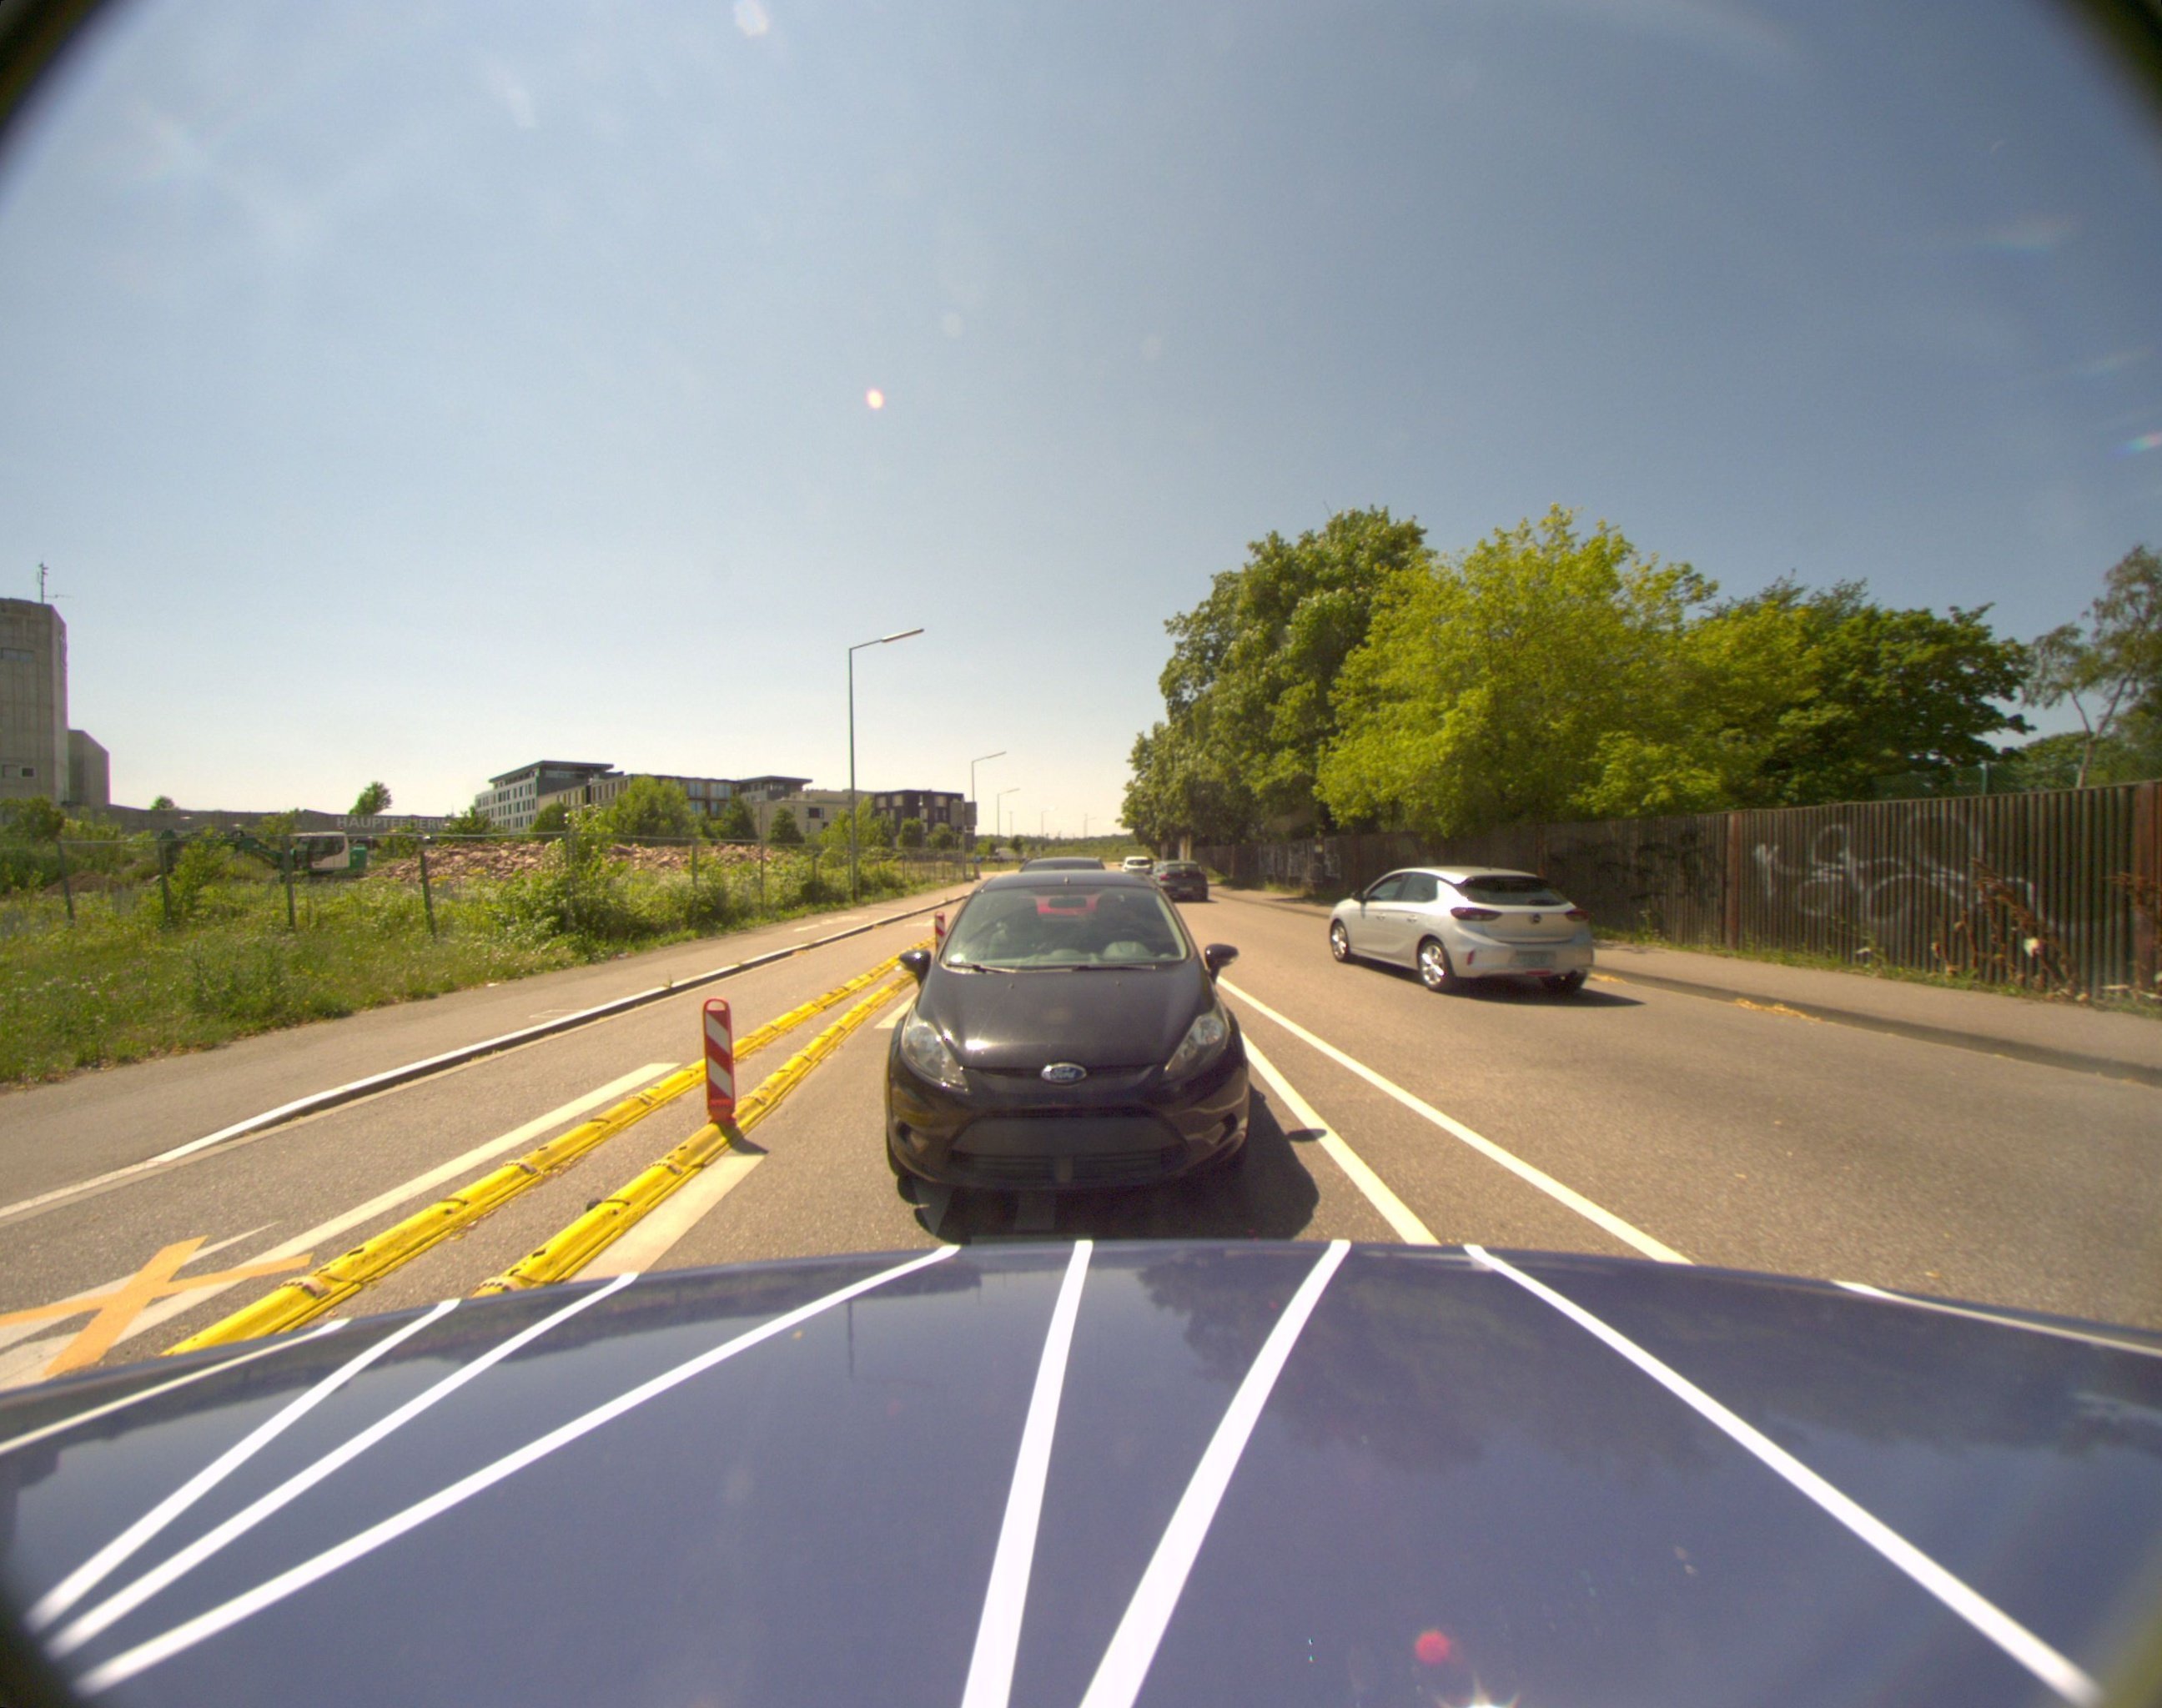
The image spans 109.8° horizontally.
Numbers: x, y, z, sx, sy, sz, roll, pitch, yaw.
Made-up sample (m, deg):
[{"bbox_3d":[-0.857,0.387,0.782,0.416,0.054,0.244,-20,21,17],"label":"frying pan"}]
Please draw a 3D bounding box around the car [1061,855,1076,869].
[{"bbox_3d":[-1.488,0.952,91.805,1.759,1.536,3.693,-1,0,-2],"label":"car"}]

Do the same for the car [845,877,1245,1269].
[{"bbox_3d":[-0.123,0.965,5.044,1.632,1.499,3.819,-1,0,1],"label":"car"}]

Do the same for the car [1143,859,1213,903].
[{"bbox_3d":[3.430,0.923,27.514,1.759,1.477,3.692,-1,0,-5],"label":"car"}]

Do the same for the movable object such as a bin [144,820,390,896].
[{"bbox_3d":[-38.005,0.117,36.025,2.810,3.131,7.608,-2,1,8],"label":"movable object such as a bin"}]

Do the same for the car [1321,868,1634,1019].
[{"bbox_3d":[4.671,0.953,9.683,1.719,1.455,3.841,1,0,-5],"label":"car"}]

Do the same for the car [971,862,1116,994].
[{"bbox_3d":[-0.417,0.904,11.147,1.720,1.518,4.212,-1,0,1],"label":"car"}]

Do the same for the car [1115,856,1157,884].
[{"bbox_3d":[2.993,0.835,41.998,1.759,1.477,3.692,-1,0,-5],"label":"car"}]

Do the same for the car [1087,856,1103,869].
[{"bbox_3d":[1.682,0.974,90.821,1.759,1.536,3.693,-1,0,-2],"label":"car"}]

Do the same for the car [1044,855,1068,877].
[{"bbox_3d":[-1.836,0.879,55.949,1.759,1.536,3.693,-1,0,-2],"label":"car"}]
